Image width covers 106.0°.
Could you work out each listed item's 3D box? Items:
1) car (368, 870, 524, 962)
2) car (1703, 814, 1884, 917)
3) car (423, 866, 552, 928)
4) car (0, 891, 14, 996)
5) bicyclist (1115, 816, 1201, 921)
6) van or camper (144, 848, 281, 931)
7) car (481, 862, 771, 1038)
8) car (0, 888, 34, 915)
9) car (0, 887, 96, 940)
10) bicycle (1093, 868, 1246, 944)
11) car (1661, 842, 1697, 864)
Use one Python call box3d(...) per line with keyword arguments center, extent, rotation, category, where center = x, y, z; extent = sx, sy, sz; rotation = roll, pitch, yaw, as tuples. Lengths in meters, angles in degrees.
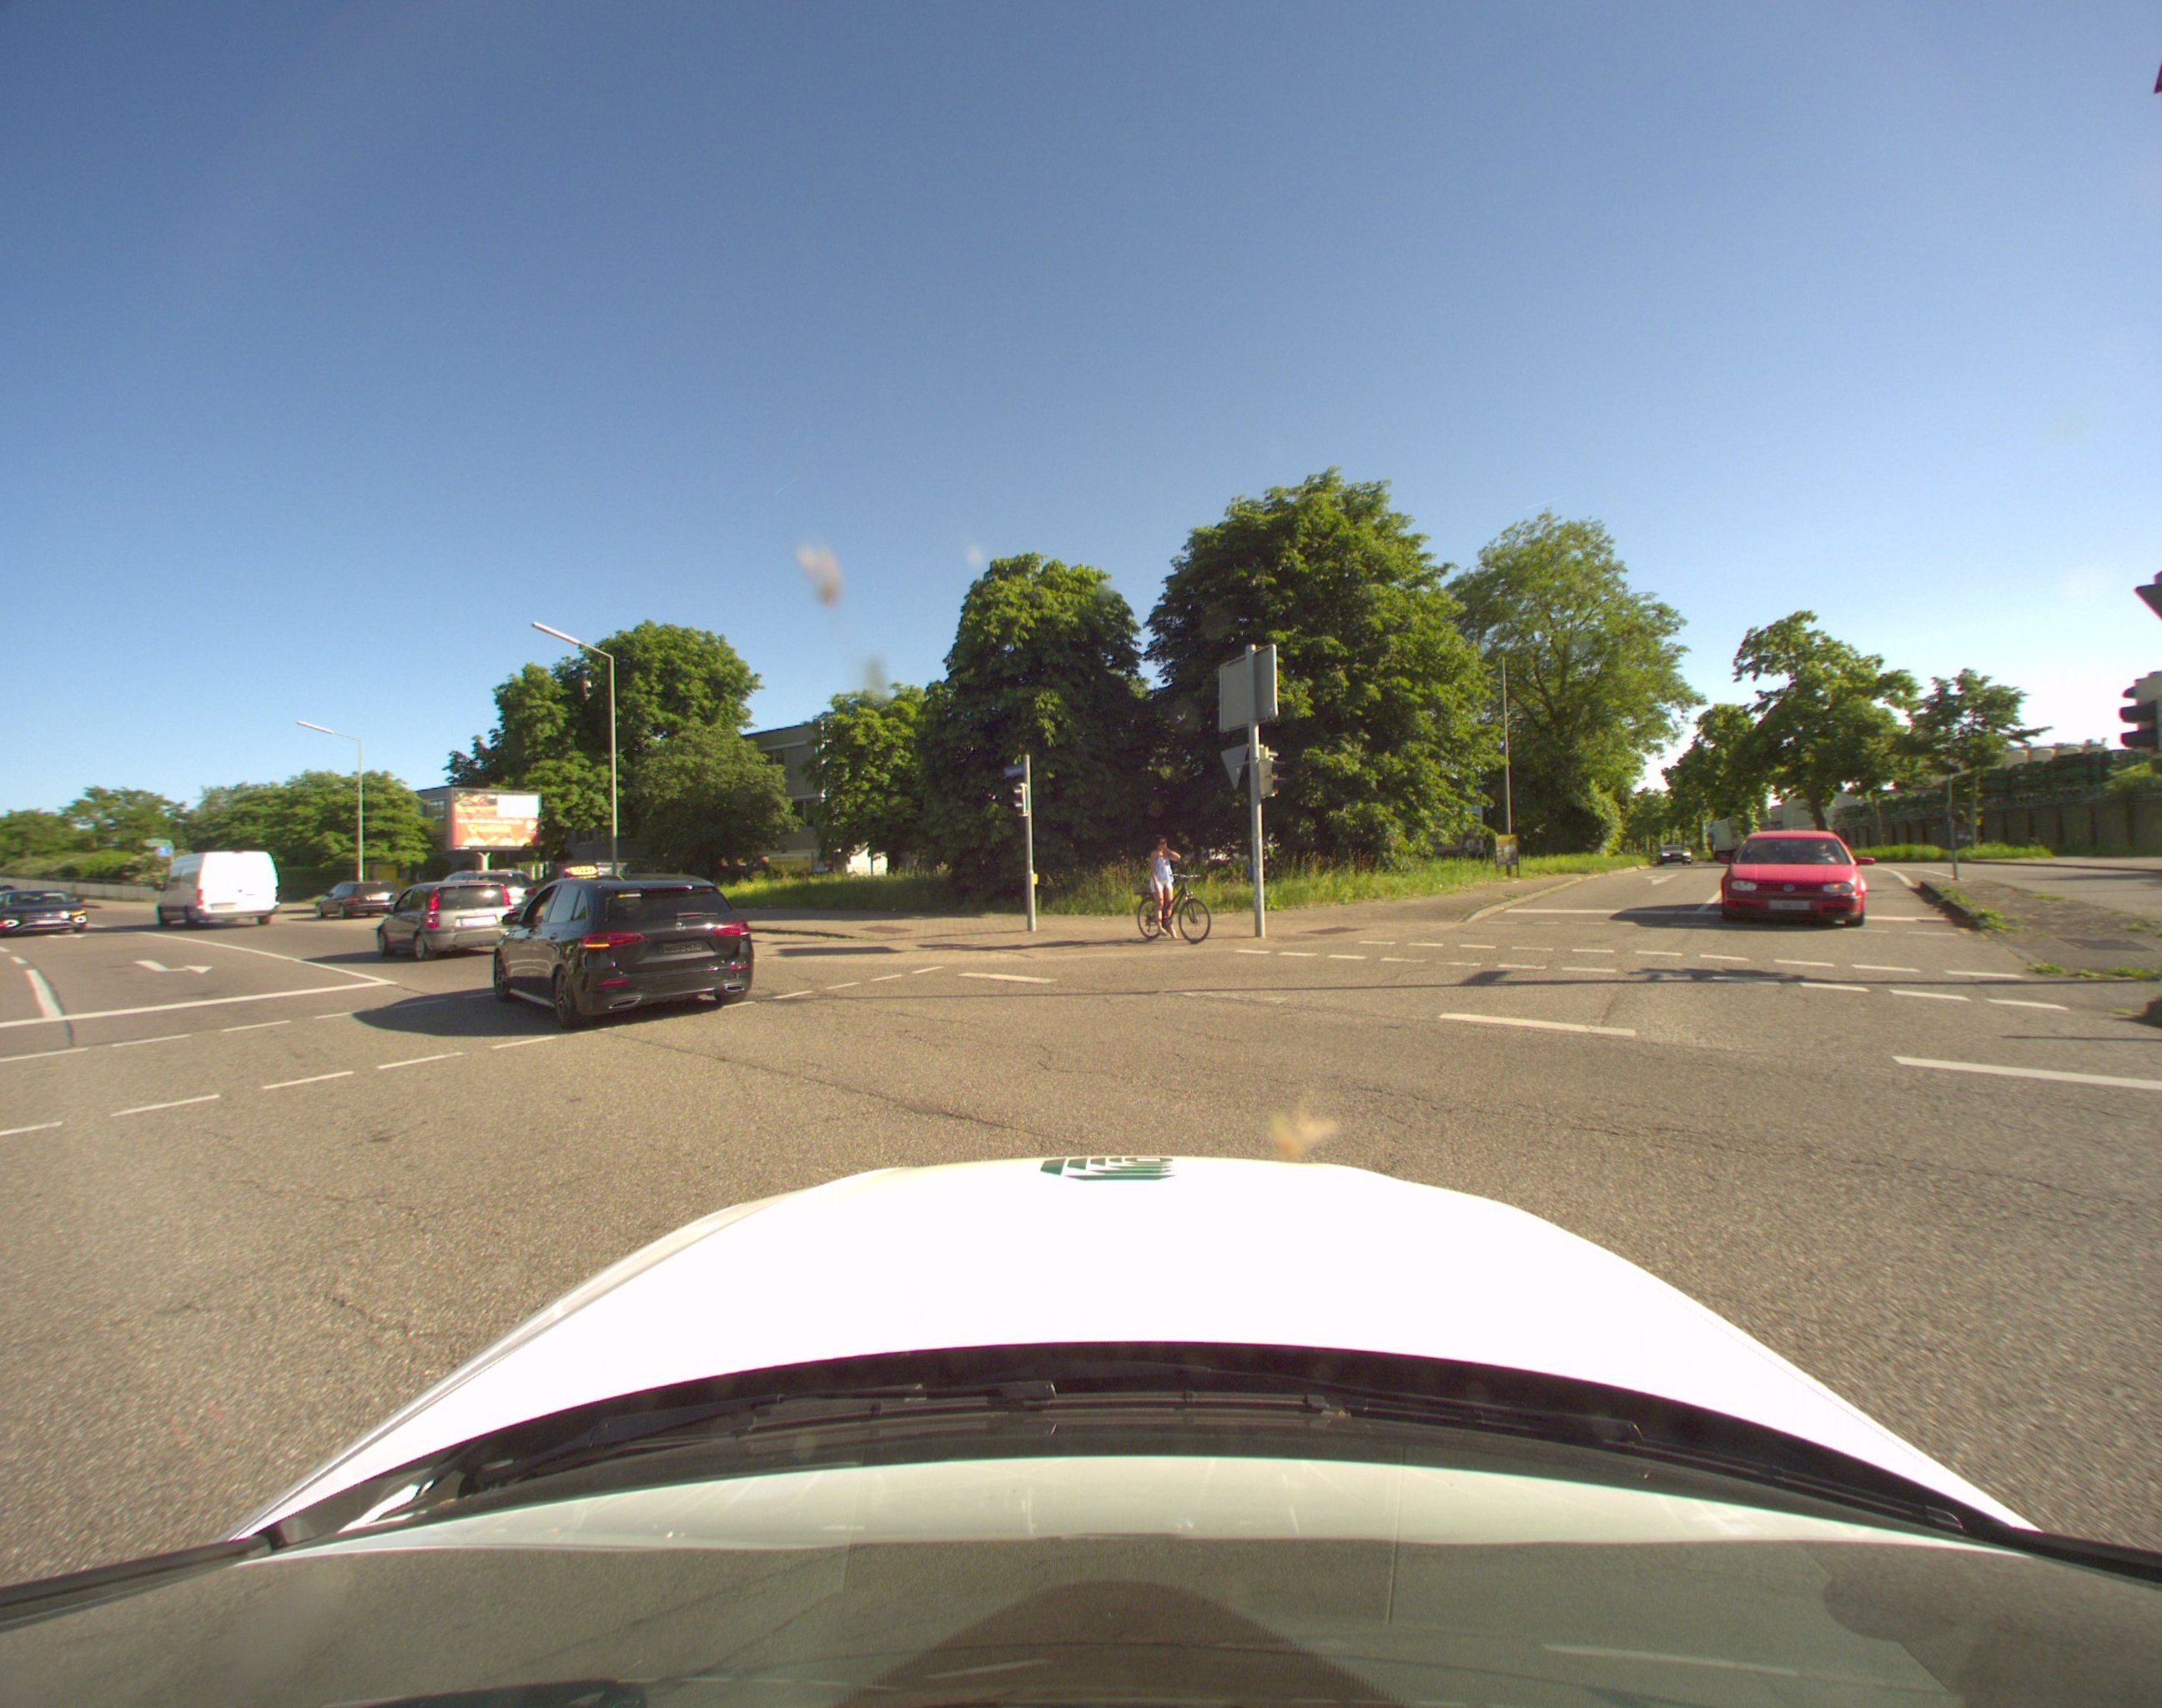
box3d(center=(-13.166, 1.211, 16.797), extent=(3.949, 1.640, 1.822), rotation=(-3, -1, 41), category="car")
box3d(center=(12.183, 0.124, 13.829), extent=(4.162, 1.469, 1.841), rotation=(-3, 0, -43), category="car")
box3d(center=(-18.905, 1.335, 25.867), extent=(4.552, 1.722, 1.891), rotation=(-2, 1, 35), category="car")
box3d(center=(-20.359, 1.543, 14.168), extent=(4.215, 1.736, 1.870), rotation=(-1, 0, 33), category="car")
box3d(center=(1.293, 0.235, 13.852), extent=(0.896, 1.693, 1.178), rotation=(0, -1, -33), category="bicyclist")
box3d(center=(-31.932, 1.230, 29.865), extent=(6.988, 2.739, 2.247), rotation=(-1, -1, 33), category="van or camper")
box3d(center=(-5.418, 0.942, 9.480), extent=(3.938, 1.593, 1.786), rotation=(-2, -1, 43), category="car")
box3d(center=(-64.306, 2.833, 48.697), extent=(4.214, 1.488, 1.937), rotation=(-2, 0, 36), category="car")
box3d(center=(-35.695, 1.998, 27.963), extent=(3.948, 1.599, 1.931), rotation=(-2, 0, 33), category="car")
box3d(center=(1.397, 0.811, 13.692), extent=(0.906, 1.125, 2.922), rotation=(0, -1, -33), category="bicycle")
box3d(center=(43.381, -0.079, 59.144), extent=(1.839, 1.470, 4.165), rotation=(-2, -1, 33), category="car")
